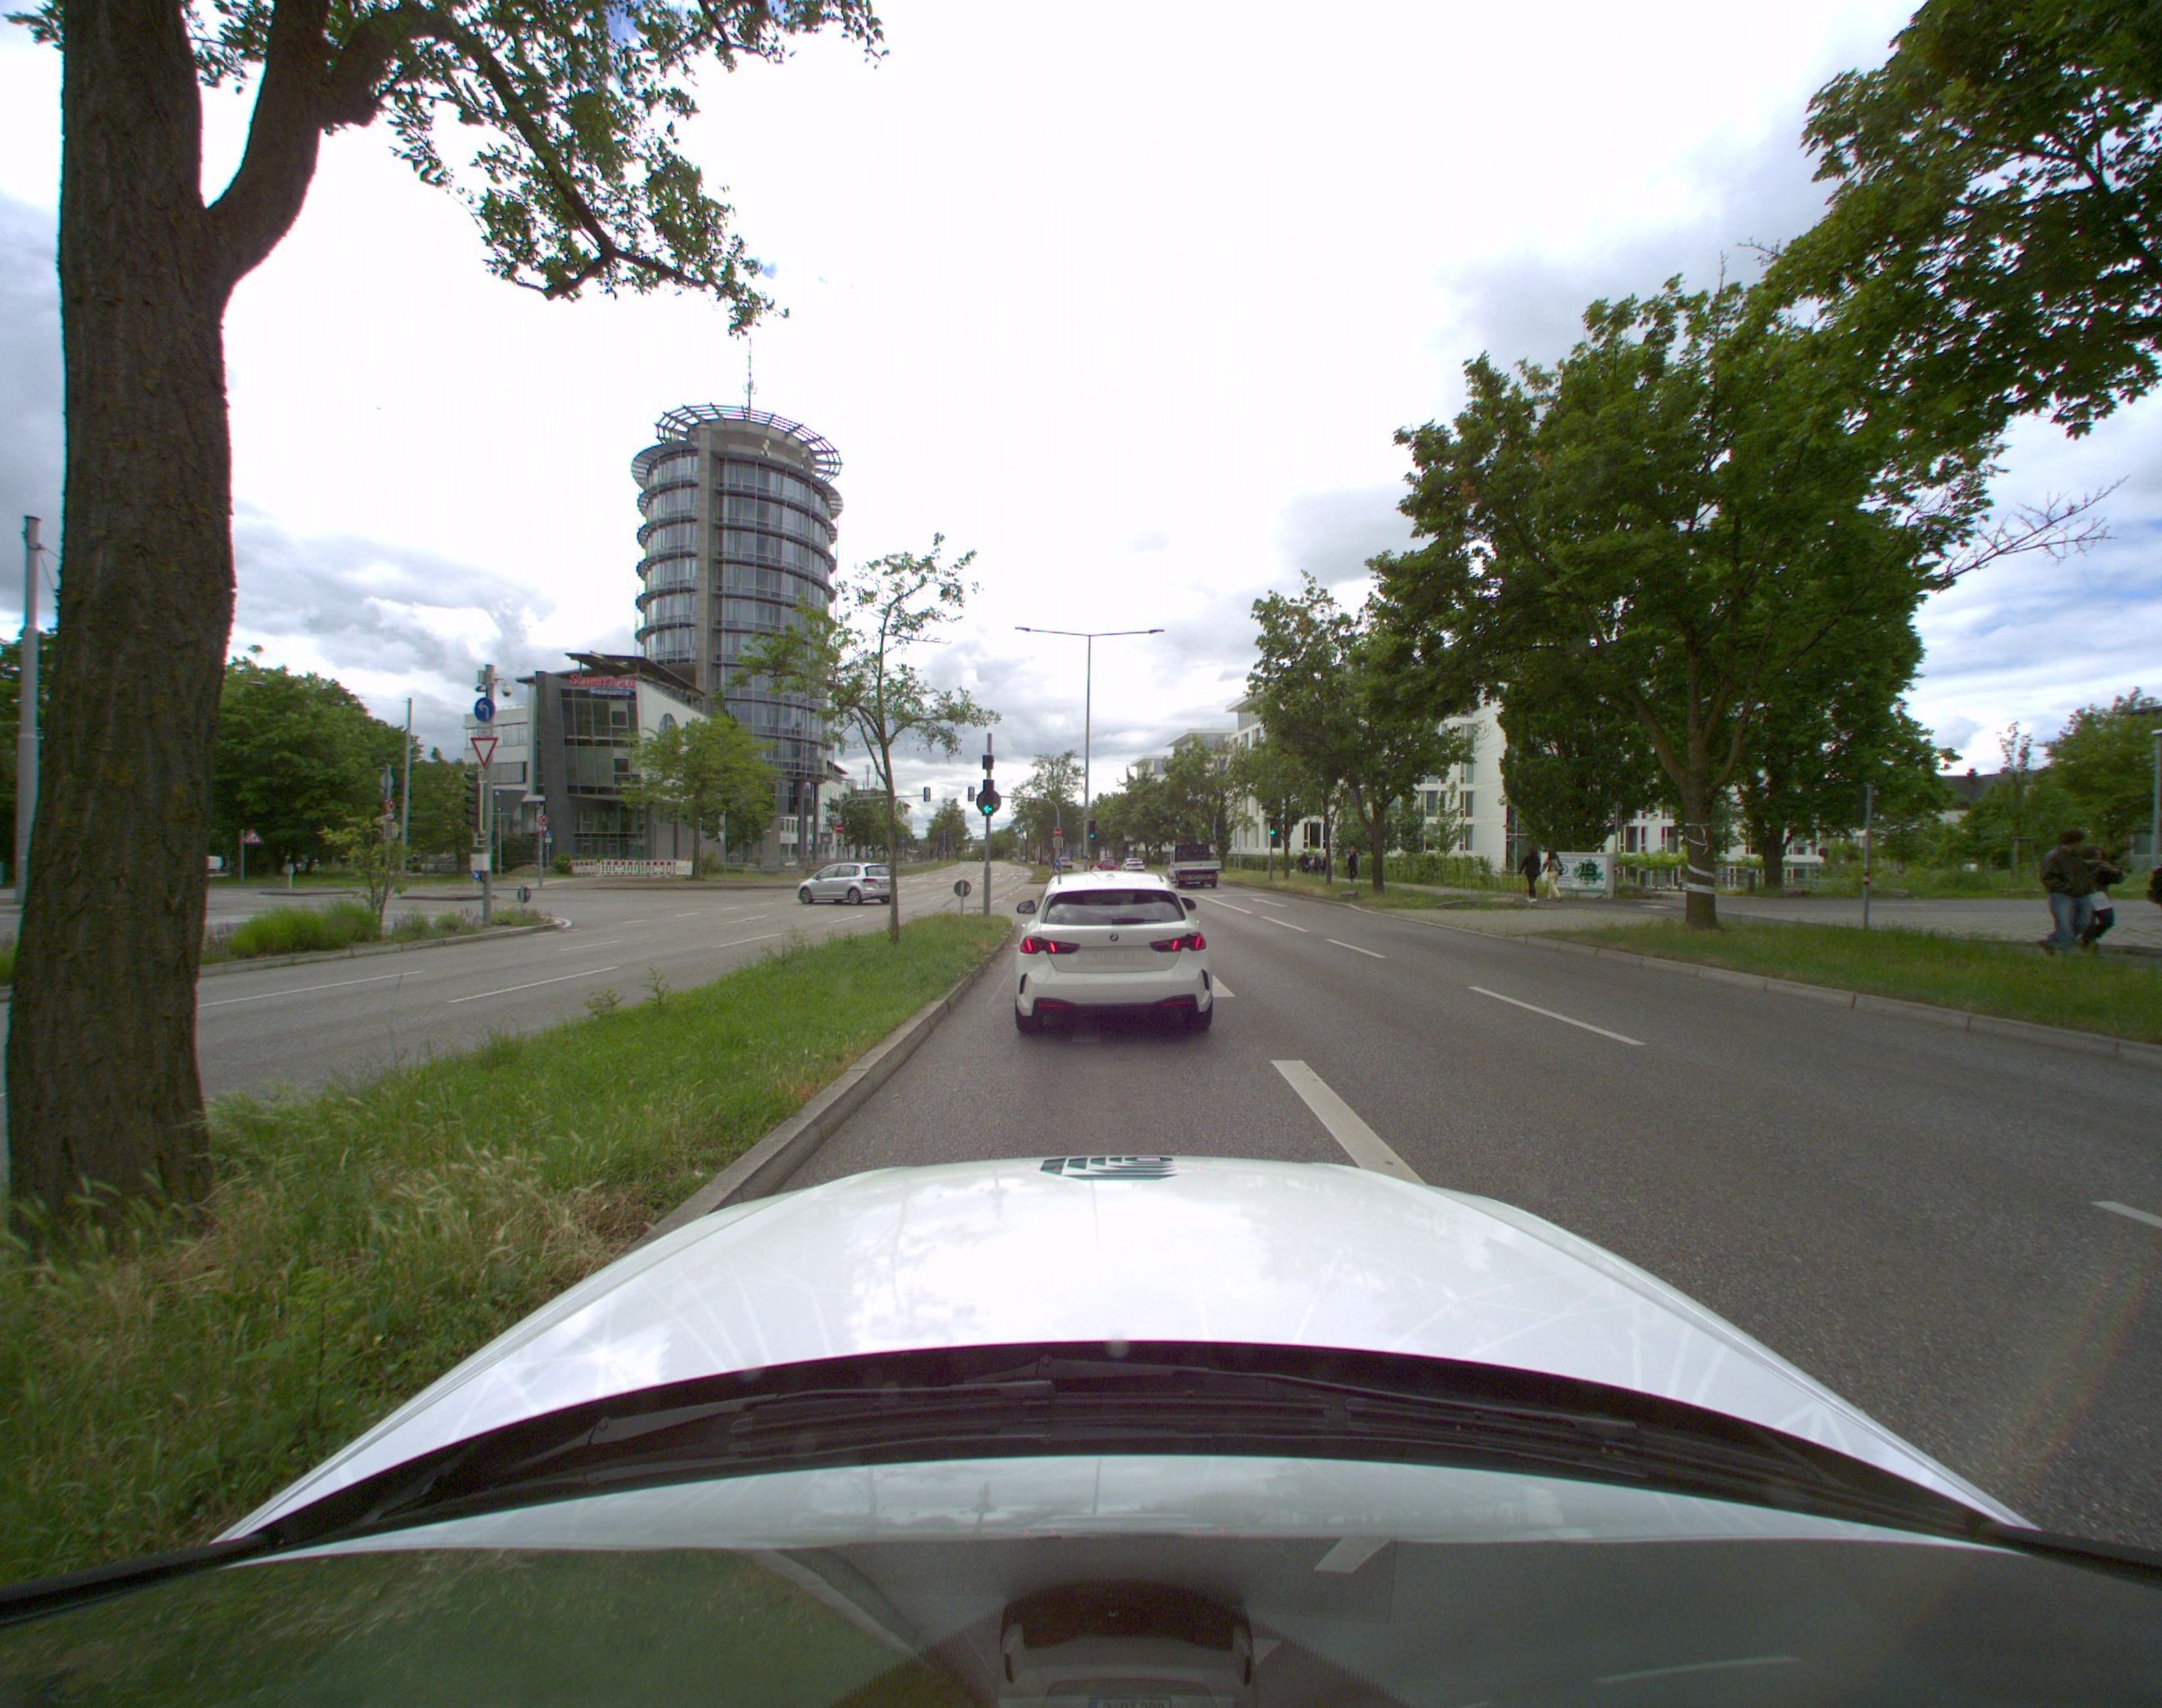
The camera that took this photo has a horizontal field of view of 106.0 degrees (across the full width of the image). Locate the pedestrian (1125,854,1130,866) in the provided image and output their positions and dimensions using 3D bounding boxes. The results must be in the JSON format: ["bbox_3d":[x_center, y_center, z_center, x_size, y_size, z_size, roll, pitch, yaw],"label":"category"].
[{"bbox_3d":[8.072,1.018,142.125,0.763,2.014,0.751,0,-1,-13],"label":"pedestrian"}]

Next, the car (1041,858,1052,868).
[{"bbox_3d":[-6.159,1.605,145.043,1.889,1.596,4.304,0,-1,-6],"label":"car"}]

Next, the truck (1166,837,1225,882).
[{"bbox_3d":[5.948,0.277,43.081,2.205,2.203,5.841,0,-1,-1],"label":"truck"}]

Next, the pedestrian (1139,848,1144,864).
[{"bbox_3d":[9.534,0.306,127.901,0.828,2.627,0.646,0,-1,2],"label":"pedestrian"}]

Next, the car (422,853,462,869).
[{"bbox_3d":[-37.210,0.396,47.425,0.766,0.876,1.730,-1,-1,39],"label":"car"}]

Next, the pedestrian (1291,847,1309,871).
[{"bbox_3d":[13.325,0.313,49.604,0.786,1.448,1.112,0,-1,1],"label":"pedestrian"}]

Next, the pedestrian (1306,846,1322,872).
[{"bbox_3d":[14.083,0.300,49.182,0.697,1.596,0.883,0,-1,1],"label":"pedestrian"}]

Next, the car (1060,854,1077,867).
[{"bbox_3d":[-1.684,0.828,107.154,1.852,1.596,4.304,-1,-1,-6],"label":"car"}]

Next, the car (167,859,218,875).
[{"bbox_3d":[-128.276,1.862,117.636,1.978,2.339,4.570,-1,-1,17],"label":"car"}]

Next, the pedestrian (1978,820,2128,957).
[{"bbox_3d":[13.790,0.475,11.592,0.955,1.868,0.979,0,-1,3],"label":"pedestrian"}]

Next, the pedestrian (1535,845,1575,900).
[{"bbox_3d":[14.568,0.554,25.057,0.774,1.660,0.954,0,-1,8],"label":"pedestrian"}]

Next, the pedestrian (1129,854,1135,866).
[{"bbox_3d":[8.880,1.037,142.155,0.763,2.014,0.751,0,-1,-13],"label":"pedestrian"}]

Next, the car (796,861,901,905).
[{"bbox_3d":[-8.882,1.058,31.012,3.949,1.569,1.564,0,-1,31],"label":"car"}]

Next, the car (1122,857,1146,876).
[{"bbox_3d":[4.448,1.063,69.294,1.711,1.556,4.087,-1,-1,-1],"label":"car"}]

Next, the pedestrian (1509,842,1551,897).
[{"bbox_3d":[13.819,0.477,25.096,0.791,1.660,1.061,0,-1,8],"label":"pedestrian"}]

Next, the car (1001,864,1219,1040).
[{"bbox_3d":[0.312,0.836,8.782,1.815,1.438,4.002,0,-1,2],"label":"car"}]

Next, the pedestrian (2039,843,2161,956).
[{"bbox_3d":[14.756,0.634,11.747,0.829,1.557,0.876,0,-1,3],"label":"pedestrian"}]

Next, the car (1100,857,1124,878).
[{"bbox_3d":[2.340,1.027,62.062,1.710,1.558,3.859,-1,-1,1],"label":"car"}]

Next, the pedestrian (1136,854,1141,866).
[{"bbox_3d":[10.147,1.024,143.343,0.763,2.014,0.751,0,-1,-13],"label":"pedestrian"}]

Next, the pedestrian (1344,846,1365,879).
[{"bbox_3d":[13.027,0.417,38.820,0.739,1.574,0.674,0,-1,1],"label":"pedestrian"}]

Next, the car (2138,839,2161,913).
[{"bbox_3d":[24.899,0.472,16.478,1.749,1.646,4.151,0,0,2],"label":"car"}]

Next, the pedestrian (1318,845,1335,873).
[{"bbox_3d":[14.850,0.295,49.202,0.764,1.685,0.883,0,-1,1],"label":"pedestrian"}]
